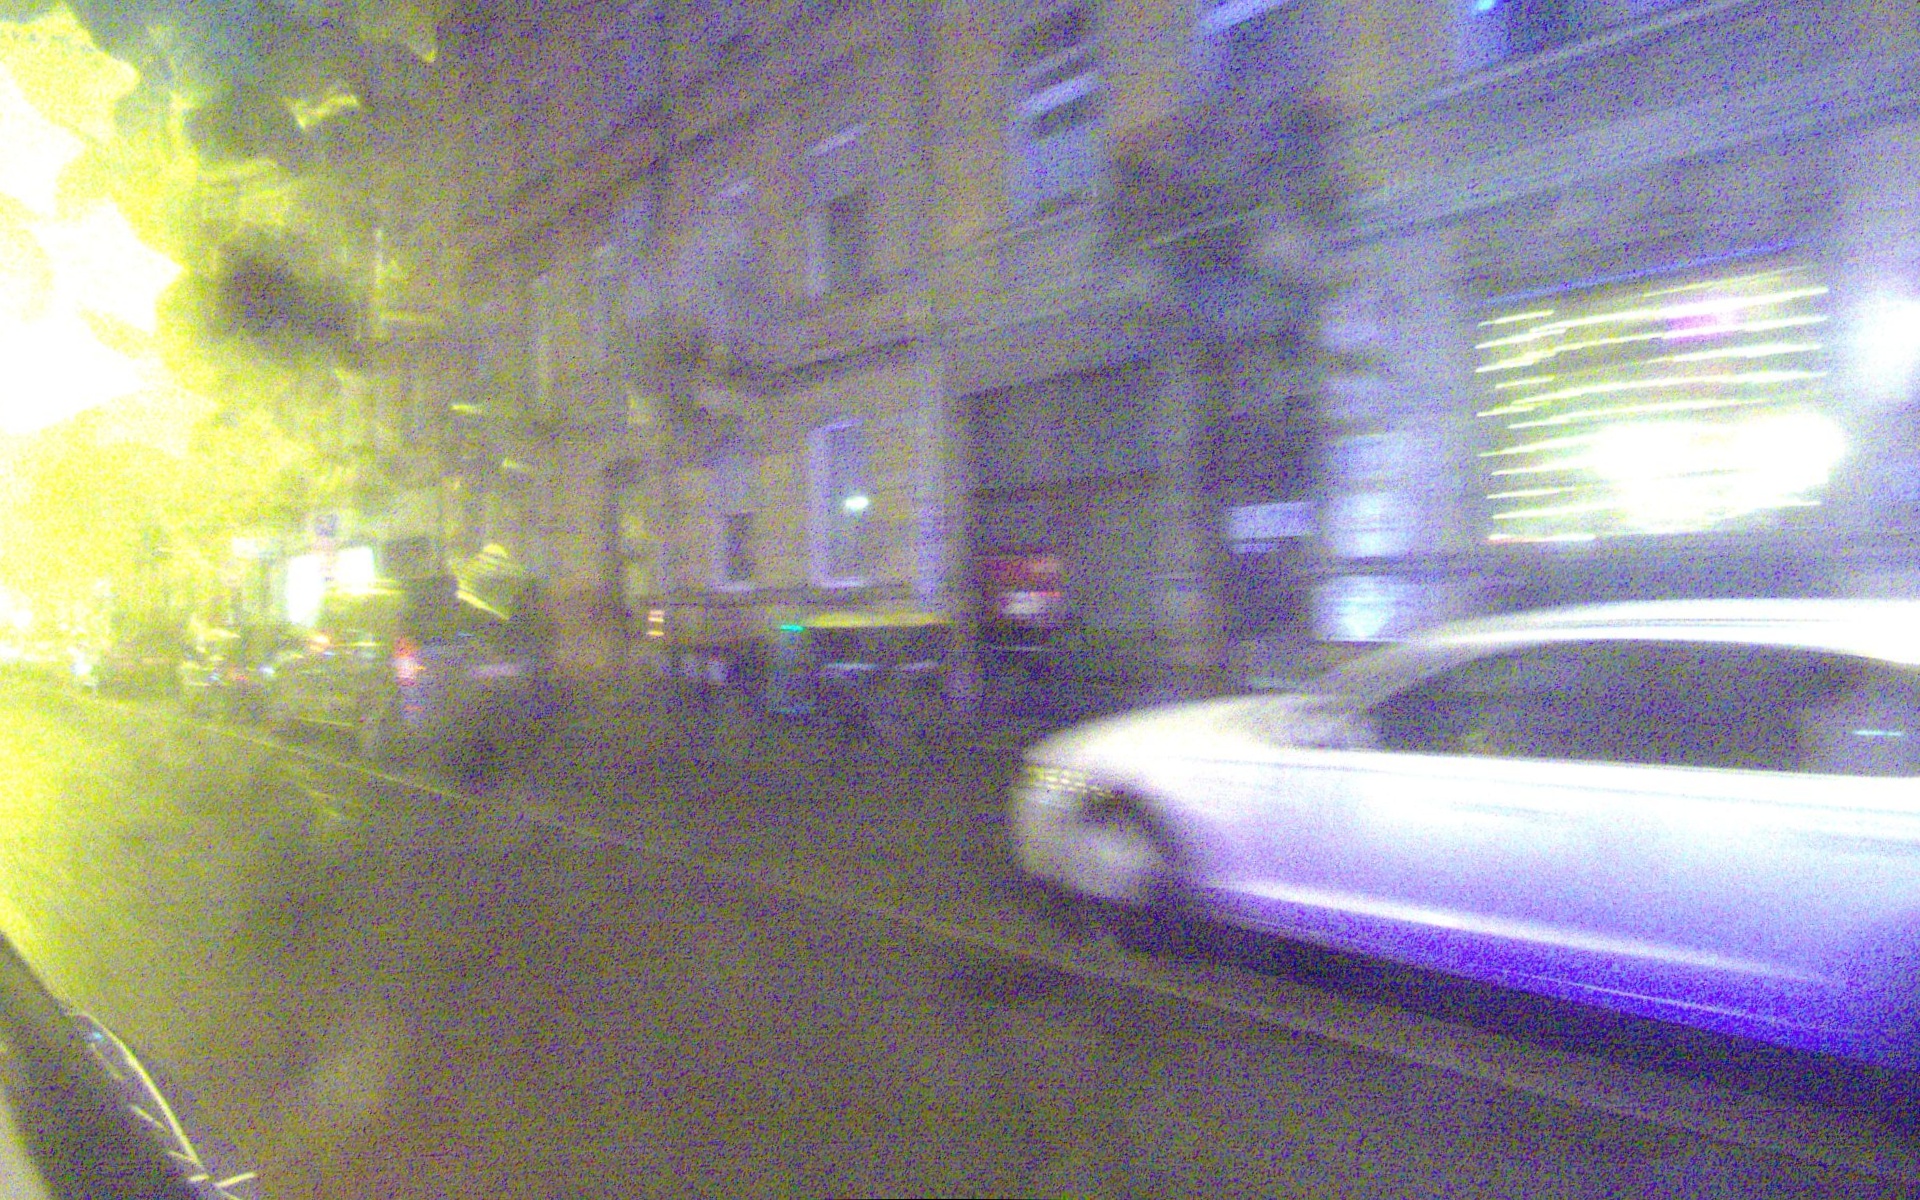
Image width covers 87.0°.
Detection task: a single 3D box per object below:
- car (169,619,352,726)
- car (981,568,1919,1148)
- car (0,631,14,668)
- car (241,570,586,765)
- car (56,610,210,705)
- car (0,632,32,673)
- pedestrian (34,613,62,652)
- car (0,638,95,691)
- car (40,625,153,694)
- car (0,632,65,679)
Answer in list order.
[{"bbox_3d":[-11.066,1.074,15.929,3.718,1.471,1.552,-2,-2,42],"label":"car"},{"bbox_3d":[2.479,0.693,3.907,4.771,1.494,1.749,-2,1,42],"label":"car"},{"bbox_3d":[-40.257,2.090,41.753,1.673,1.490,3.385,0,-3,-45],"label":"car"},{"bbox_3d":[-6.682,0.707,12.048,5.205,1.843,1.975,-2,-2,42],"label":"car"},{"bbox_3d":[-18.066,1.195,22.025,4.827,1.843,1.882,-2,-2,42],"label":"car"},{"bbox_3d":[-35.706,1.939,37.572,3.382,1.464,1.512,-2,-2,42],"label":"car"},{"bbox_3d":[-44.136,1.569,48.982,0.629,1.801,0.900,-1,1,42],"label":"pedestrian"},{"bbox_3d":[-27.083,1.864,29.928,4.553,1.402,1.708,-2,-2,42],"label":"car"},{"bbox_3d":[-21.911,1.457,25.635,3.718,1.587,1.708,-2,-2,42],"label":"car"},{"bbox_3d":[-31.426,1.822,33.898,4.271,1.464,1.708,-2,-2,42],"label":"car"}]
